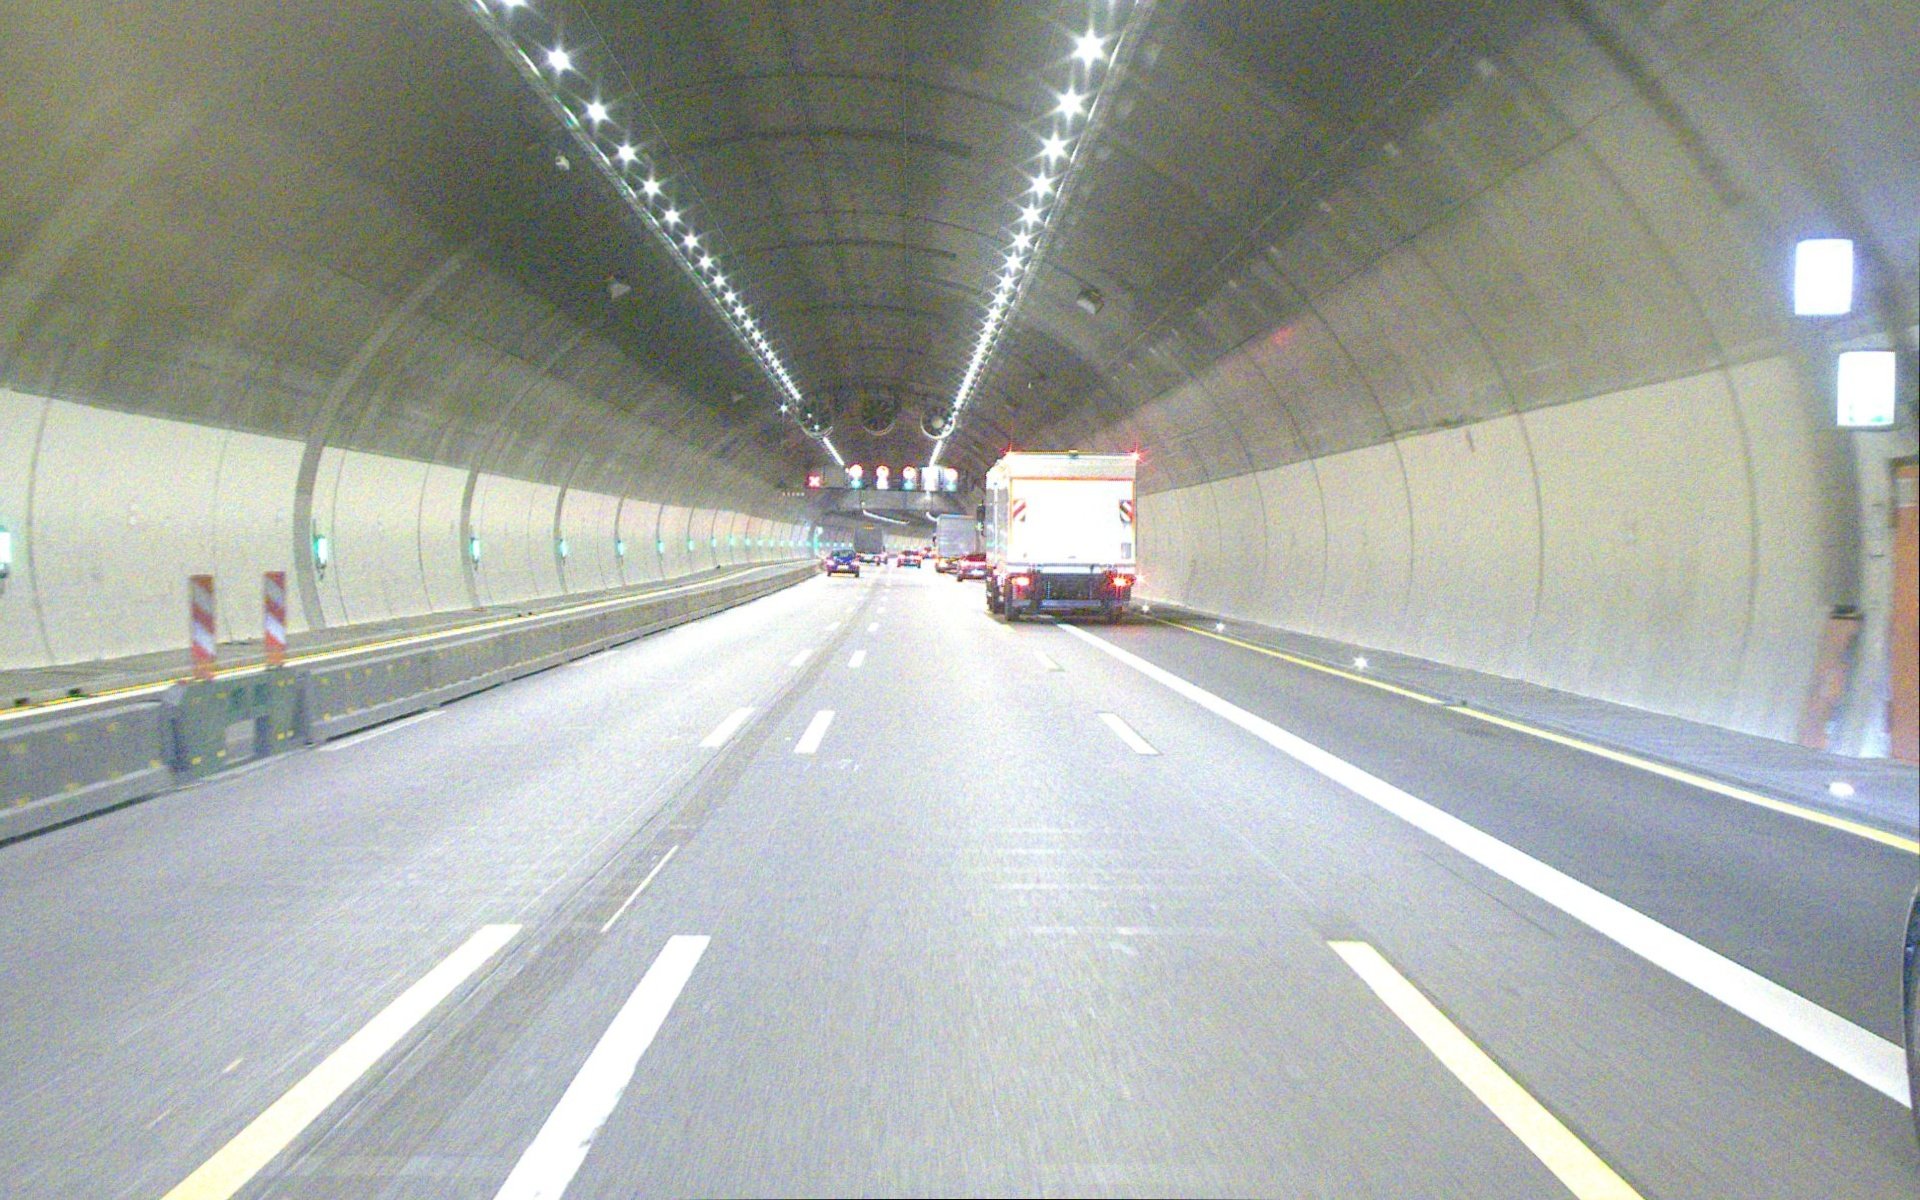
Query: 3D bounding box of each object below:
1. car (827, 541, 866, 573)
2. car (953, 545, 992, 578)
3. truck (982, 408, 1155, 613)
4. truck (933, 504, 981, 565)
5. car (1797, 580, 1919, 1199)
[{"bbox_3d":[-5.546,-2.111,168.495,1.758,1.456,4.119,1,1,0],"label":"car"},{"bbox_3d":[0.602,-1.804,160.797,1.739,1.456,3.960,1,1,1],"label":"car"},{"bbox_3d":[2.157,-1.759,72.245,3.092,3.904,10.368,2,0,-1],"label":"truck"},{"bbox_3d":[-0.181,-4.496,238.054,3.066,3.904,10.367,2,0,1],"label":"truck"},{"bbox_3d":[3.133,0.736,6.265,1.925,1.467,4.955,1,1,-1],"label":"car"}]
